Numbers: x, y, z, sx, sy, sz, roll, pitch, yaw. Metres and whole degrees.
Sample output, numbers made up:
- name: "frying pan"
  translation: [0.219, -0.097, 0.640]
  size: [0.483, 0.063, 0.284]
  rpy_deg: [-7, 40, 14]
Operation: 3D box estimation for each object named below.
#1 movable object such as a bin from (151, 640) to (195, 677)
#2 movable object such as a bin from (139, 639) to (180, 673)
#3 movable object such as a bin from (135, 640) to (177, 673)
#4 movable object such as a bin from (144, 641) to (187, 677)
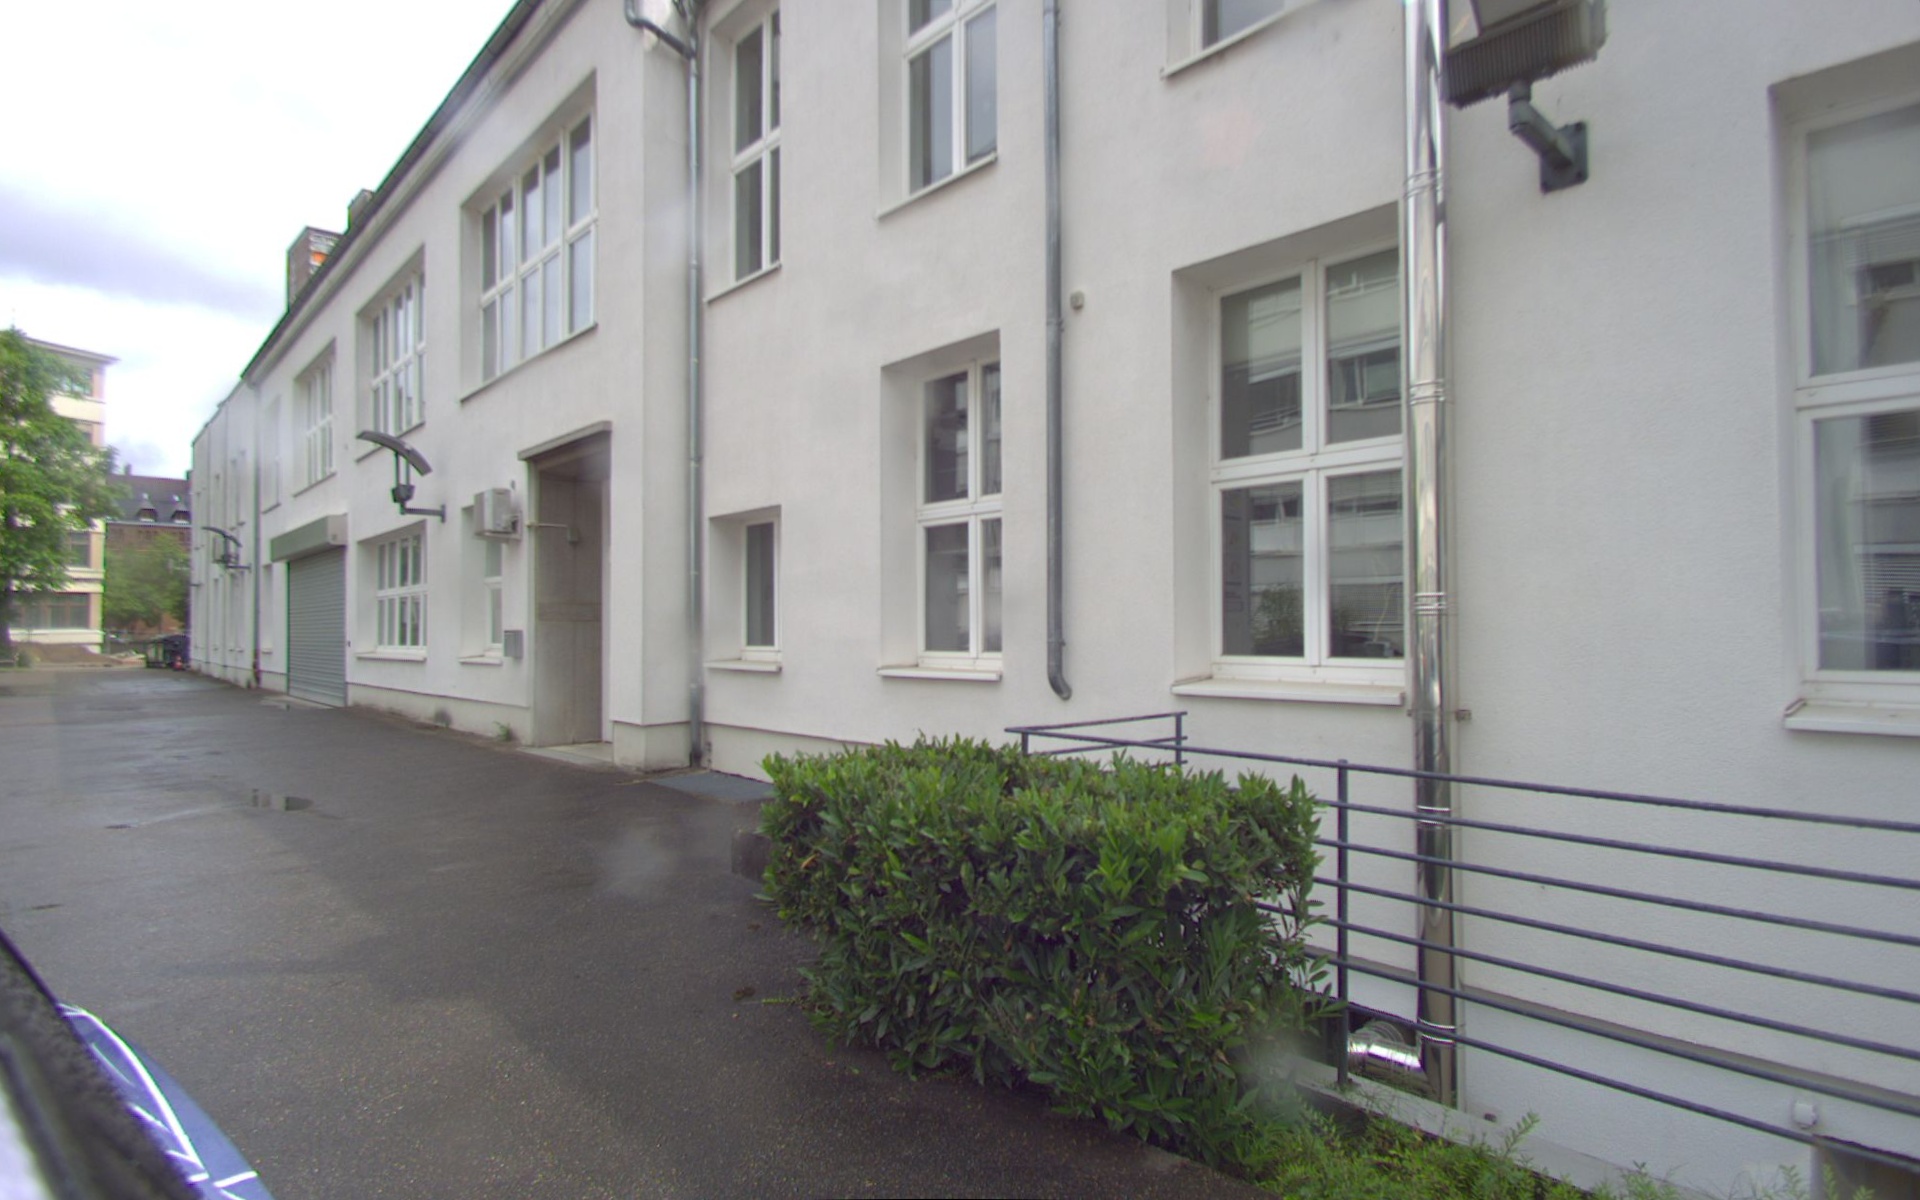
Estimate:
- name: "movable object such as a bin"
  translation: [-32.960, 2.451, 42.388]
  size: [1.343, 1.482, 1.367]
  rpy_deg: [0, -3, -43]
- name: "movable object such as a bin"
  translation: [-36.136, 2.529, 45.686]
  size: [1.343, 1.482, 1.466]
  rpy_deg: [0, -3, -43]
- name: "movable object such as a bin"
  translation: [-37.260, 2.608, 46.877]
  size: [1.392, 1.482, 1.562]
  rpy_deg: [0, -3, -43]
- name: "movable object such as a bin"
  translation: [-34.216, 2.547, 43.560]
  size: [1.343, 1.482, 1.367]
  rpy_deg: [0, -3, -43]
